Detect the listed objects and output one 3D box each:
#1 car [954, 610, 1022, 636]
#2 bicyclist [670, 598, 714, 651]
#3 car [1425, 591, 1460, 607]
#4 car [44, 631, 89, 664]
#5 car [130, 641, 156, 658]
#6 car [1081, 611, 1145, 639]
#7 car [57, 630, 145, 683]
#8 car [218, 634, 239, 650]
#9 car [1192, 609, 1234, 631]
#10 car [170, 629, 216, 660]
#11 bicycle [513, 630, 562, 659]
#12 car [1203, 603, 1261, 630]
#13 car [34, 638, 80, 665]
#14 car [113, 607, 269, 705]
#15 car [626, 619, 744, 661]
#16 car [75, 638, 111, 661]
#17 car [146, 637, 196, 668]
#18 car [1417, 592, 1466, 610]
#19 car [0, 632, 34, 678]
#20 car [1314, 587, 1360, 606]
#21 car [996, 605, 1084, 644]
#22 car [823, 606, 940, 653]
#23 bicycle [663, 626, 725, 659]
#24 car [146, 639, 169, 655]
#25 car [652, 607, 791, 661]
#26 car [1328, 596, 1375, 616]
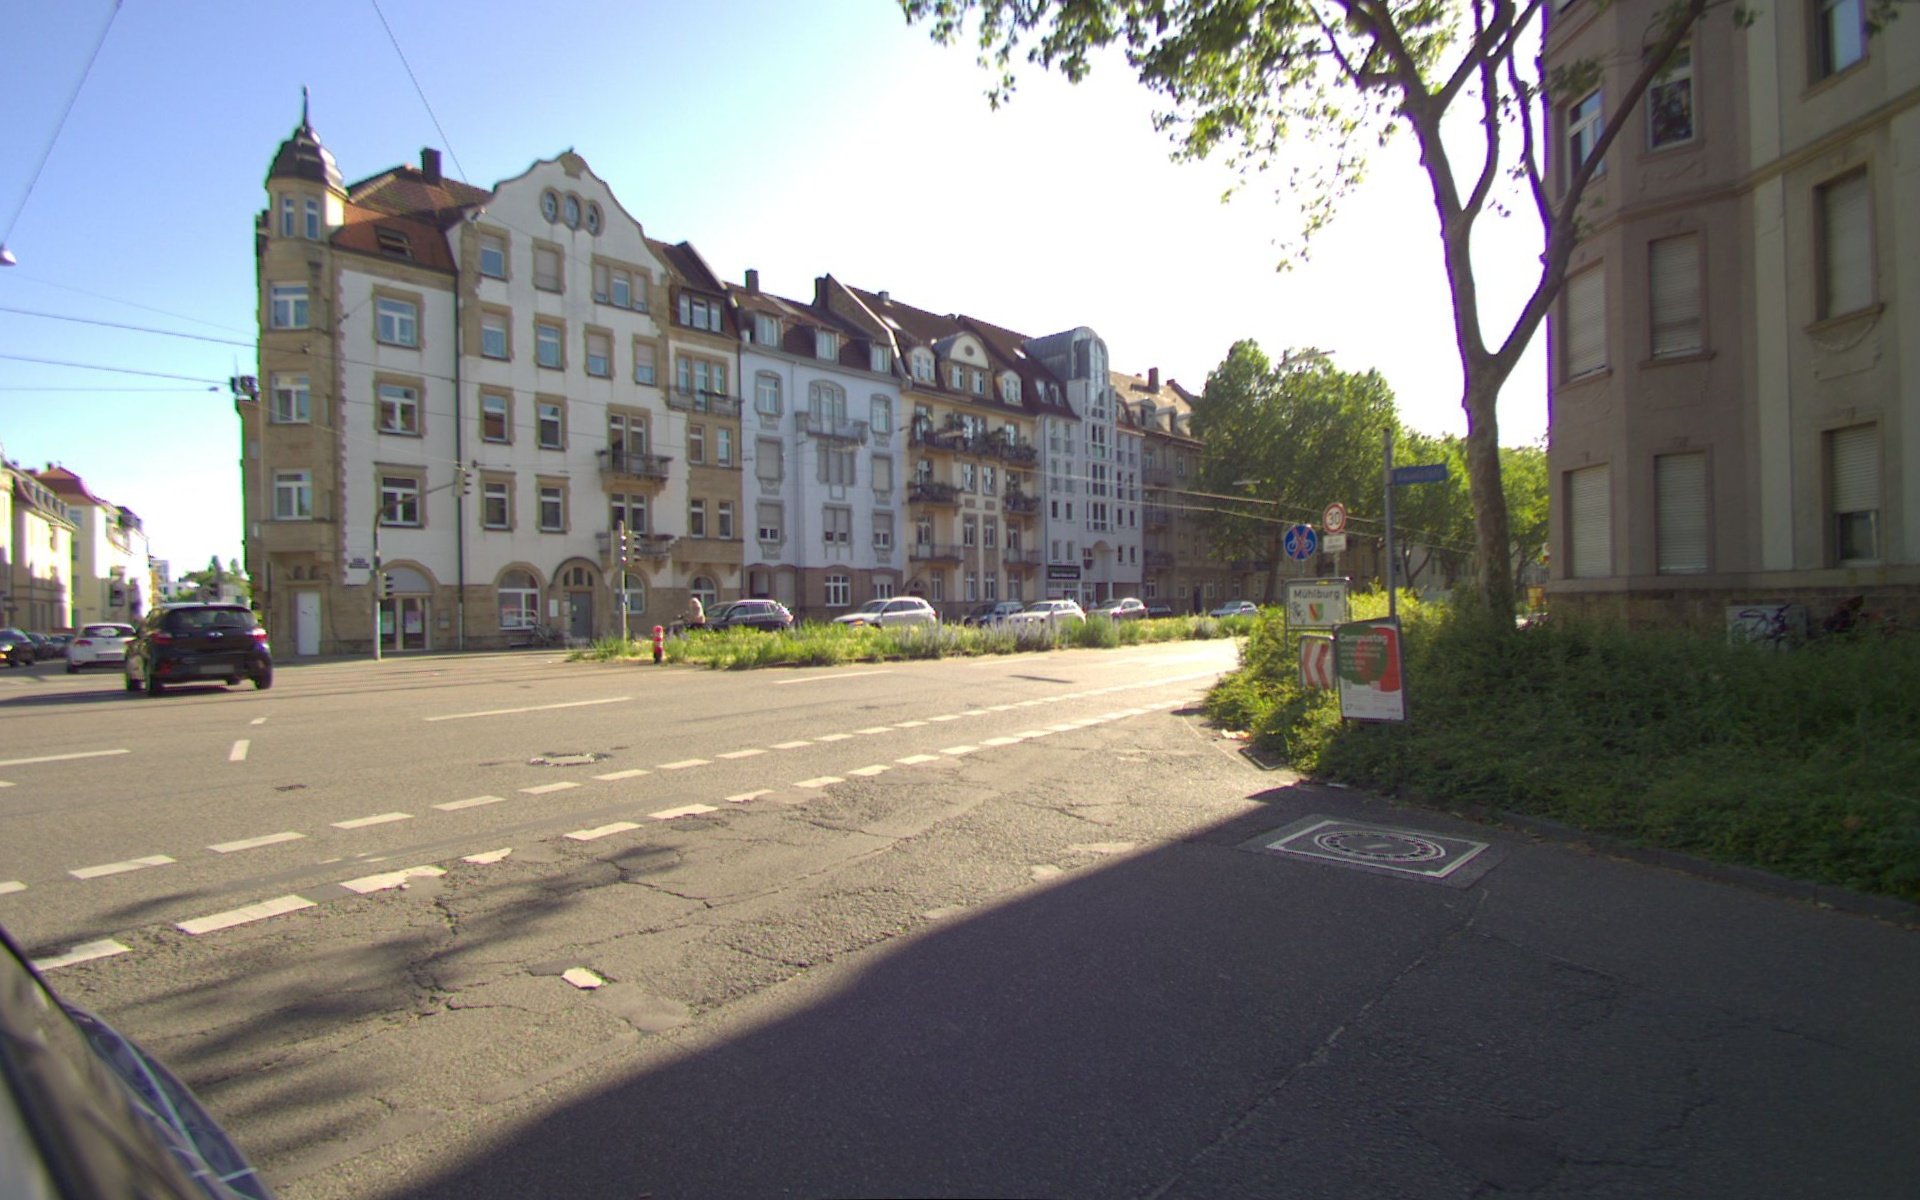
[{"bbox_3d":[1.640,1.310,57.808,1.766,1.400,3.841,-2,-2,43],"label":"car"},{"bbox_3d":[-7.970,0.727,30.149,0.687,1.554,1.059,-2,-1,43],"label":"bicyclist"},{"bbox_3d":[59.860,-0.094,125.625,3.790,1.718,1.829,-3,0,27],"label":"car"},{"bbox_3d":[-60.971,3.228,69.114,1.804,2.050,3.829,-3,-1,-34],"label":"car"},{"bbox_3d":[-91.348,5.537,113.233,1.847,1.679,4.011,-2,0,-33],"label":"car"},{"bbox_3d":[7.875,1.261,51.908,1.592,1.387,3.652,-1,-1,40],"label":"car"},{"bbox_3d":[-26.121,1.688,30.728,1.785,1.469,4.002,0,-2,-44],"label":"car"},{"bbox_3d":[-86.746,4.995,120.005,1.888,1.636,4.357,-5,1,-35],"label":"car"},{"bbox_3d":[19.530,1.550,78.012,1.643,1.600,3.354,-4,-3,44],"label":"car"},{"bbox_3d":[-46.565,2.677,61.506,1.887,1.671,4.358,-5,1,-33],"label":"car"},{"bbox_3d":[-17.525,1.823,41.981,0.610,1.142,1.786,-2,-2,41],"label":"bicycle"},{"bbox_3d":[16.898,0.990,62.807,1.819,1.603,4.187,-2,-1,41],"label":"car"},{"bbox_3d":[-58.353,3.321,65.463,1.805,1.608,3.828,-3,-1,-36],"label":"car"},{"bbox_3d":[-13.241,0.889,17.339,1.641,1.475,3.810,0,-1,-45],"label":"car"},{"bbox_3d":[-10.112,1.466,37.328,1.766,1.400,3.841,-3,-2,43],"label":"car"},{"bbox_3d":[-68.141,3.903,79.600,1.805,1.608,3.828,-3,-1,-36],"label":"car"},{"bbox_3d":[-38.081,2.535,48.900,1.531,1.422,3.581,2,-3,-33],"label":"car"},{"bbox_3d":[54.131,0.084,113.802,4.533,1.718,1.844,-3,0,4],"label":"car"},{"bbox_3d":[-36.732,2.088,38.282,1.847,1.679,4.011,-2,0,-33],"label":"car"},{"bbox_3d":[37.228,-0.338,99.987,3.758,1.718,1.845,-3,0,2],"label":"car"},{"bbox_3d":[3.417,1.032,42.703,1.765,1.541,3.843,-3,-3,41],"label":"car"},{"bbox_3d":[-2.746,1.025,36.019,1.766,1.541,3.963,-2,-2,43],"label":"car"},{"bbox_3d":[-7.929,1.253,30.192,0.795,0.932,1.614,-3,-2,43],"label":"bicycle"},{"bbox_3d":[-97.365,5.679,122.826,1.847,1.679,4.011,-2,0,-33],"label":"car"},{"bbox_3d":[-8.054,1.140,34.419,2.000,1.657,4.180,-4,-3,43],"label":"car"},{"bbox_3d":[37.724,0.584,97.644,3.758,1.718,1.845,-3,0,2],"label":"car"}]
